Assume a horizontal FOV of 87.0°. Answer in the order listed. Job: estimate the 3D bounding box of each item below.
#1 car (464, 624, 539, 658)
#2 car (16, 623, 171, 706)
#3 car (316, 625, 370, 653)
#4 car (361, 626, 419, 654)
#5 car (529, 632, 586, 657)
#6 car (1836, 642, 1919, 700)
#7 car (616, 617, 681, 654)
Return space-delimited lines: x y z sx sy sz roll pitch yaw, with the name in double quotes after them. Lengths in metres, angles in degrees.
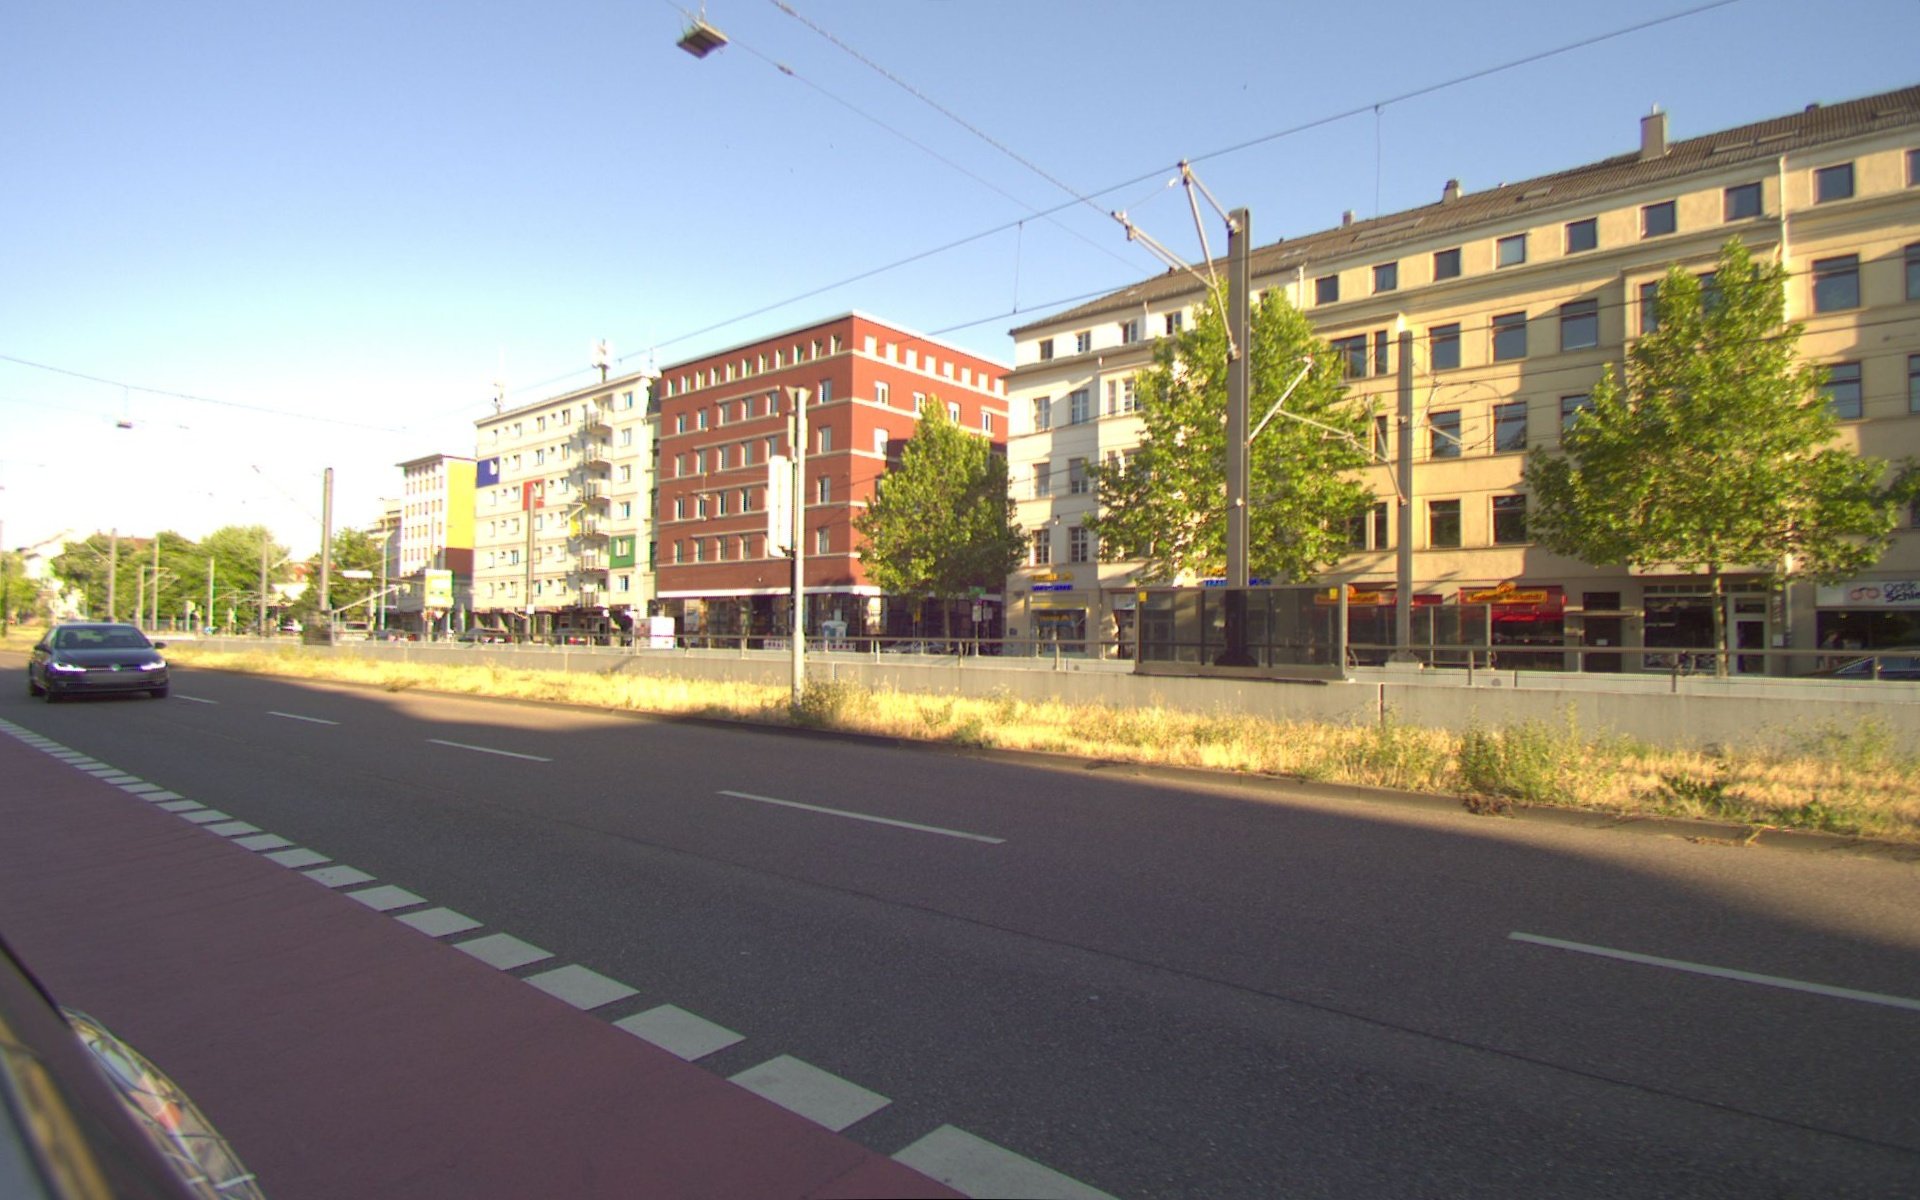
-25.569 2.270 56.368 4.979 1.833 1.972 -2 -3 43 "car"
-16.909 1.189 19.674 4.243 1.437 1.746 -2 -2 42 "car"
-45.593 2.875 74.777 4.771 2.029 1.973 -1 -3 40 "car"
-38.823 2.721 68.920 4.894 1.811 1.972 -2 -3 42 "car"
-29.688 3.246 74.521 4.741 1.811 1.972 -2 -3 42 "car"
24.307 1.790 25.232 3.709 1.342 1.439 -1 0 42 "car"
-18.743 2.129 60.818 1.929 2.150 4.578 3 -3 -42 "car"
